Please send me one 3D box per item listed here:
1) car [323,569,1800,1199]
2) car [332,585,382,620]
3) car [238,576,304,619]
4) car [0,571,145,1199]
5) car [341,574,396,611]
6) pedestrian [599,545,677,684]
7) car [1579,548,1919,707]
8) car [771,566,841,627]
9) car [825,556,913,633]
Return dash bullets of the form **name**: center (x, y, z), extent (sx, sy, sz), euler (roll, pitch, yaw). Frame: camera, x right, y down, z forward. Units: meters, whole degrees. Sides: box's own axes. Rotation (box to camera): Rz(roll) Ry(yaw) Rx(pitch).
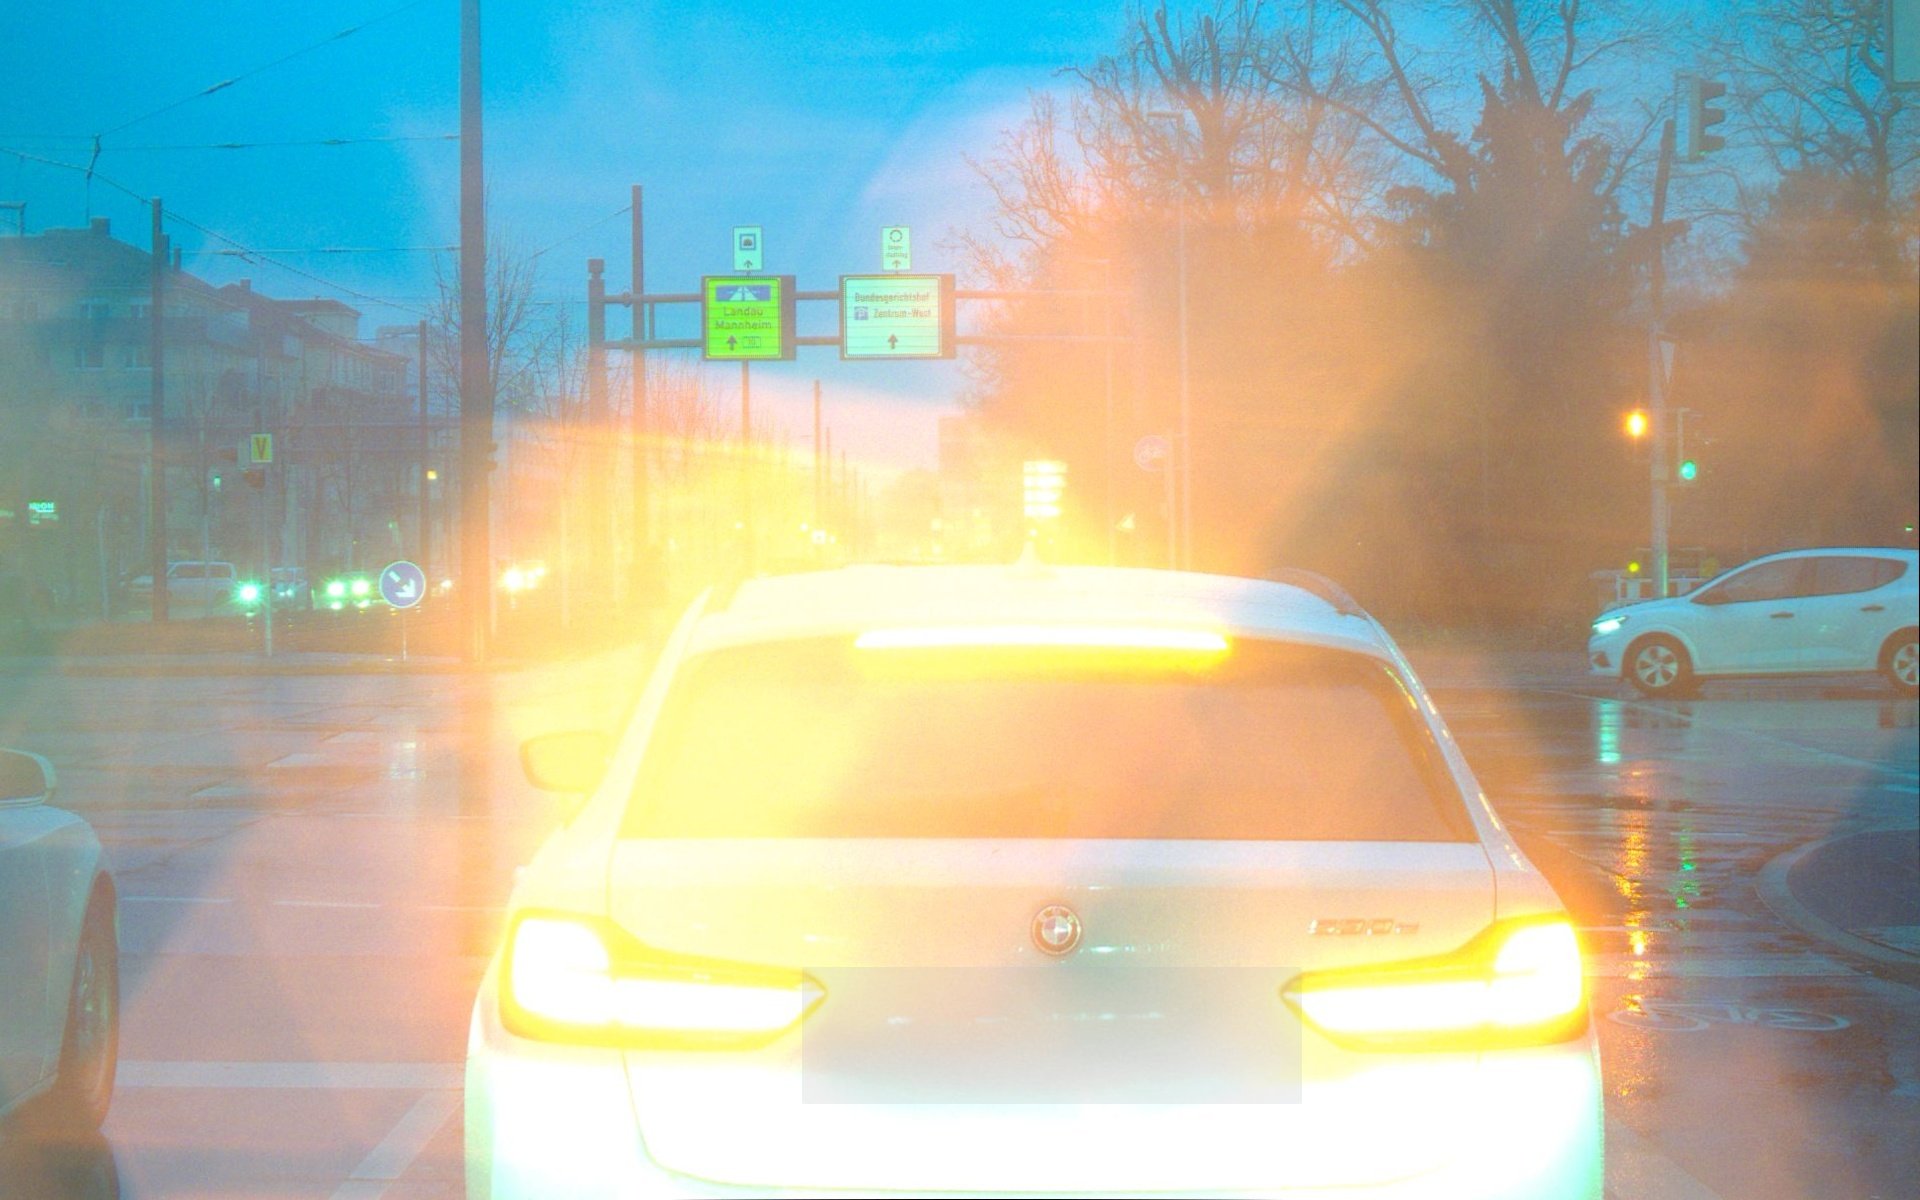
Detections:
- **car**: center (0.048, 0.687, 6.828), extent (1.993, 1.451, 4.369), euler (0, 1, -2)
- **car**: center (-27.536, 0.113, 157.030), extent (1.675, 1.502, 3.696), euler (1, 0, -1)
- **car**: center (-24.966, -0.088, 124.606), extent (1.675, 1.502, 3.696), euler (1, 0, -1)
- **car**: center (-3.098, 0.685, 7.046), extent (1.993, 1.451, 4.369), euler (0, 1, -2)
- **car**: center (-24.901, -0.320, 144.782), extent (1.675, 1.502, 3.696), euler (1, 0, -1)
- **pedestrian**: center (-4.363, 0.199, 46.551), extent (0.902, 1.850, 0.812), euler (1, 0, -13)
- **car**: center (8.602, 0.279, 35.826), extent (3.959, 1.548, 1.747), euler (1, 0, 20)
- **car**: center (-4.219, -0.087, 94.729), extent (1.843, 1.603, 3.945), euler (1, 0, -2)
- **car**: center (-1.996, -0.125, 75.461), extent (1.843, 1.603, 3.945), euler (1, 0, -2)
